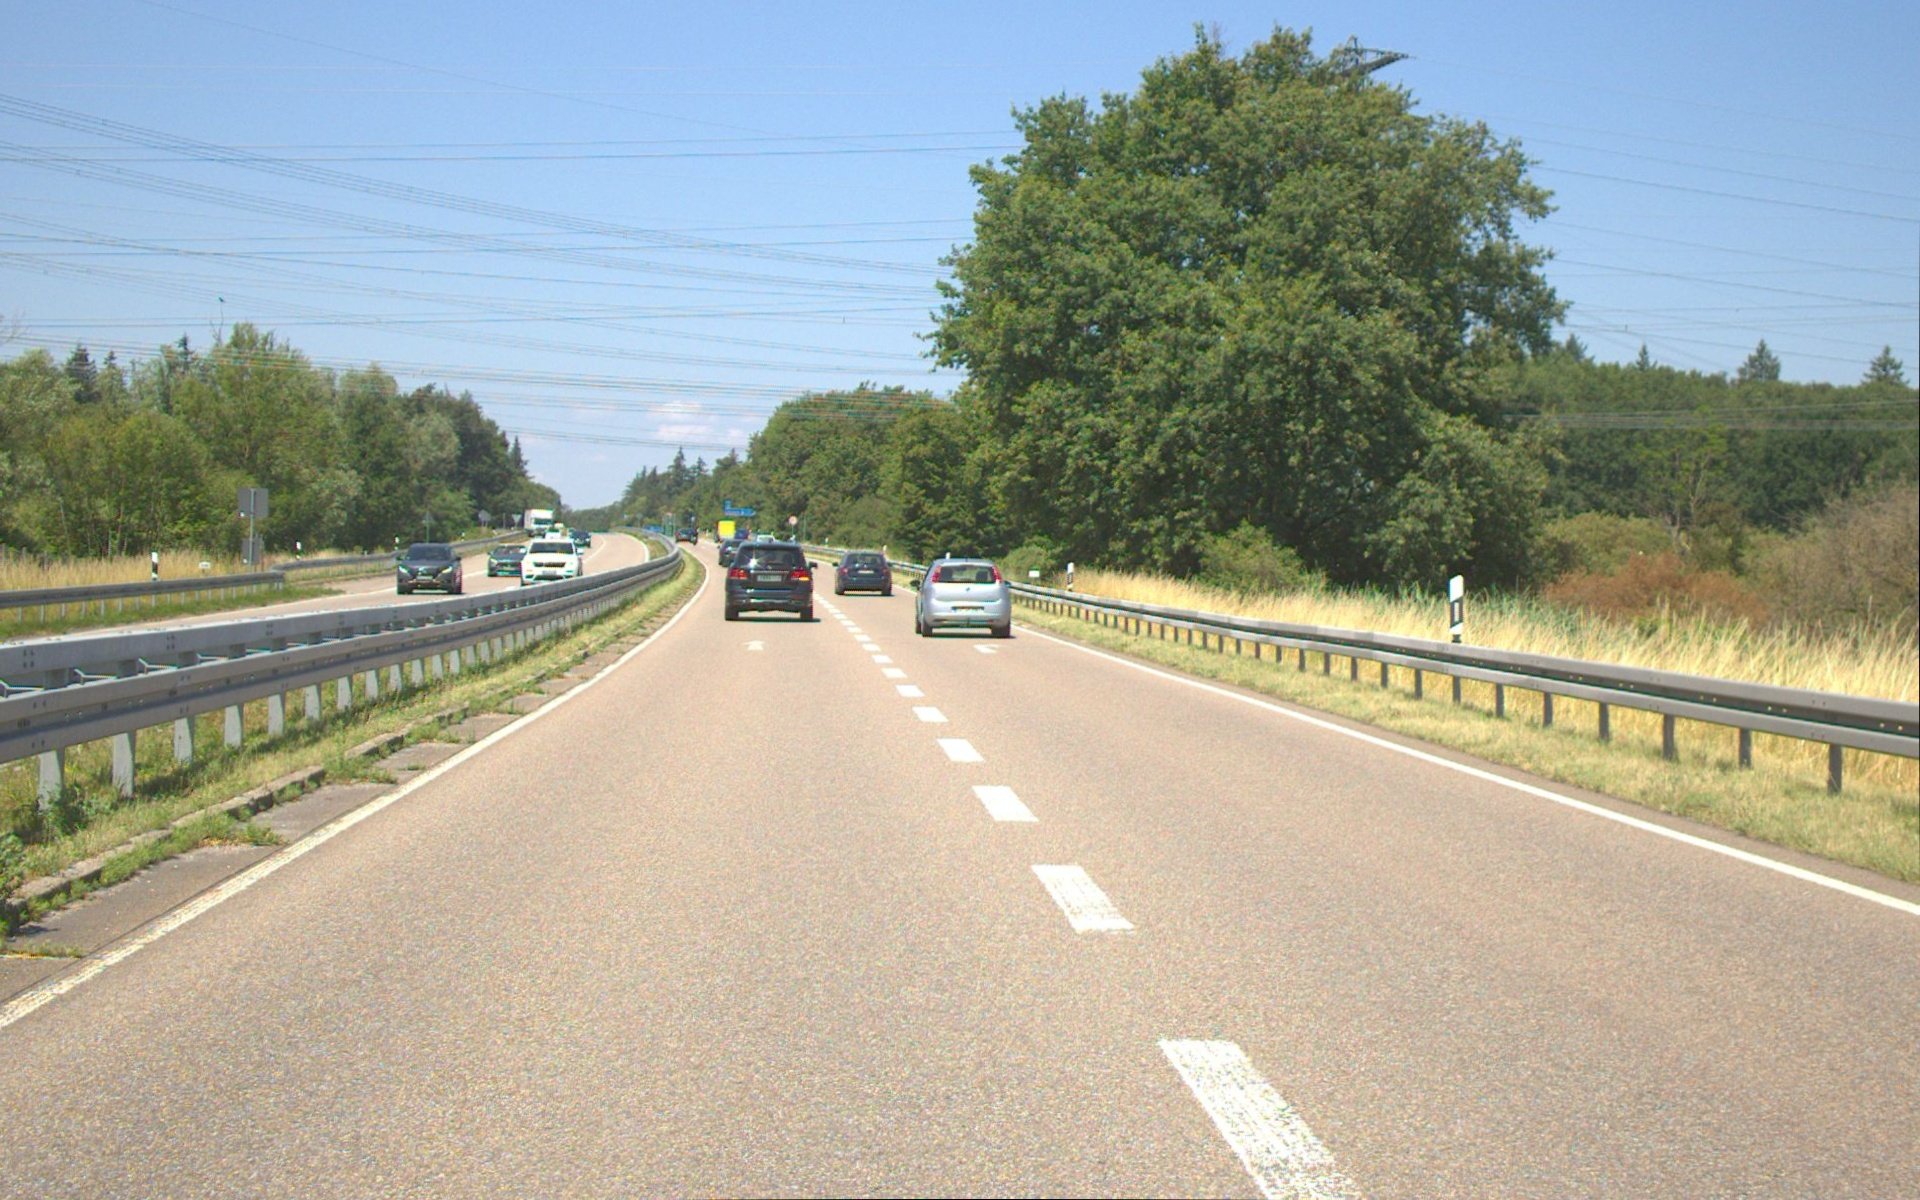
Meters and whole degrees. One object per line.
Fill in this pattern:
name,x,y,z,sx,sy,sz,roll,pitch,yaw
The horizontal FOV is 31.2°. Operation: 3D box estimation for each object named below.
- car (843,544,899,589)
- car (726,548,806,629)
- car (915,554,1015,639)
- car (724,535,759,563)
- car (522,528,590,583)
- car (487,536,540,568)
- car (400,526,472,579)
car,-2.923,-1.114,112.336,1.640,1.338,3.574,3,1,-3
car,-4.255,-0.281,75.651,1.640,1.648,3.574,3,1,-3
car,0.078,-0.086,65.329,1.640,1.463,3.419,3,1,-3
car,-12.236,-2.850,192.652,1.712,1.466,3.575,3,1,-6
car,-13.831,-1.541,117.889,1.979,1.801,4.969,1,1,-3
car,-19.649,-2.116,151.490,1.924,1.380,4.658,0,1,-2
car,-16.449,-1.493,108.103,1.842,1.612,4.171,1,1,-3
